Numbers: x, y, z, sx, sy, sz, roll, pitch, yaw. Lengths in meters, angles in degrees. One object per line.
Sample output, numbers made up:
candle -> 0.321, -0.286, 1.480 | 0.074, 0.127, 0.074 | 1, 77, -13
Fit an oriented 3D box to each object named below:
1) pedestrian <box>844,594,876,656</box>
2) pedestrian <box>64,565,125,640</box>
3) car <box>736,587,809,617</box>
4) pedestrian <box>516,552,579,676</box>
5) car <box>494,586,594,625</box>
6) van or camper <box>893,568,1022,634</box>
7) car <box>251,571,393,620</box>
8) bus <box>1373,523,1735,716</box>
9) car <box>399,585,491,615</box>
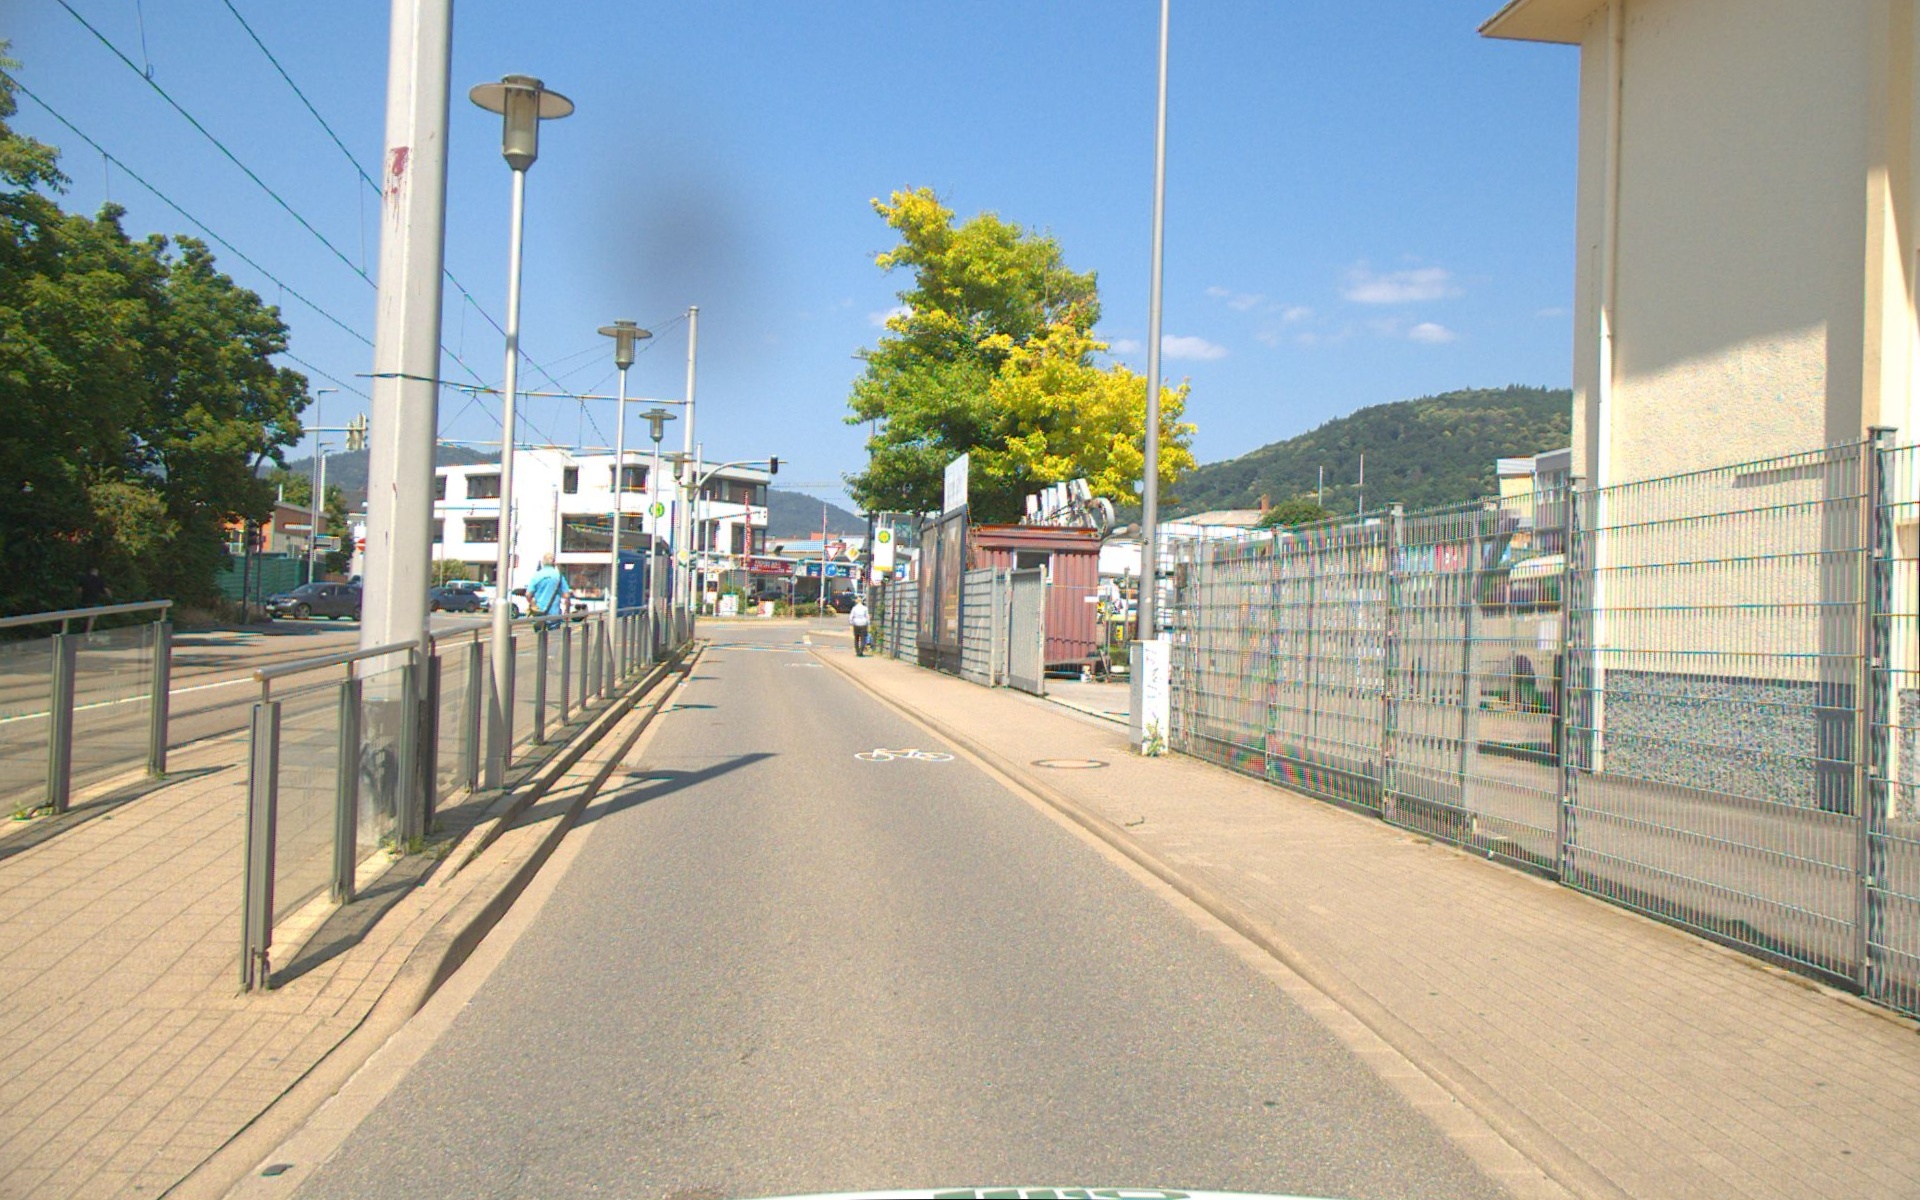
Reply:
pedestrian -> -2.848, 0.711, 47.132 | 0.798, 1.729, 0.885 | 1, 0, -10
pedestrian -> -19.838, 0.059, 37.951 | 0.869, 1.699, 1.158 | 1, 0, -9
car -> -13.289, 0.156, 117.448 | 1.929, 2.000, 5.254 | 1, 0, 39
pedestrian -> -6.043, 0.194, 24.276 | 0.710, 1.755, 0.943 | 3, 0, -8
car -> -20.052, 0.250, 79.712 | 4.460, 1.763, 1.998 | 1, 0, 26
van or camper -> -0.138, 0.045, 75.193 | 5.697, 2.822, 2.089 | 1, 1, -5
car -> -25.061, -0.160, 65.120 | 2.060, 1.870, 4.890 | 1, 0, 37
bus -> 11.424, 0.507, 33.280 | 2.516, 3.227, 10.251 | 2, -2, -7
car -> -30.095, 0.001, 96.711 | 1.920, 1.694, 4.884 | 1, 0, 40
